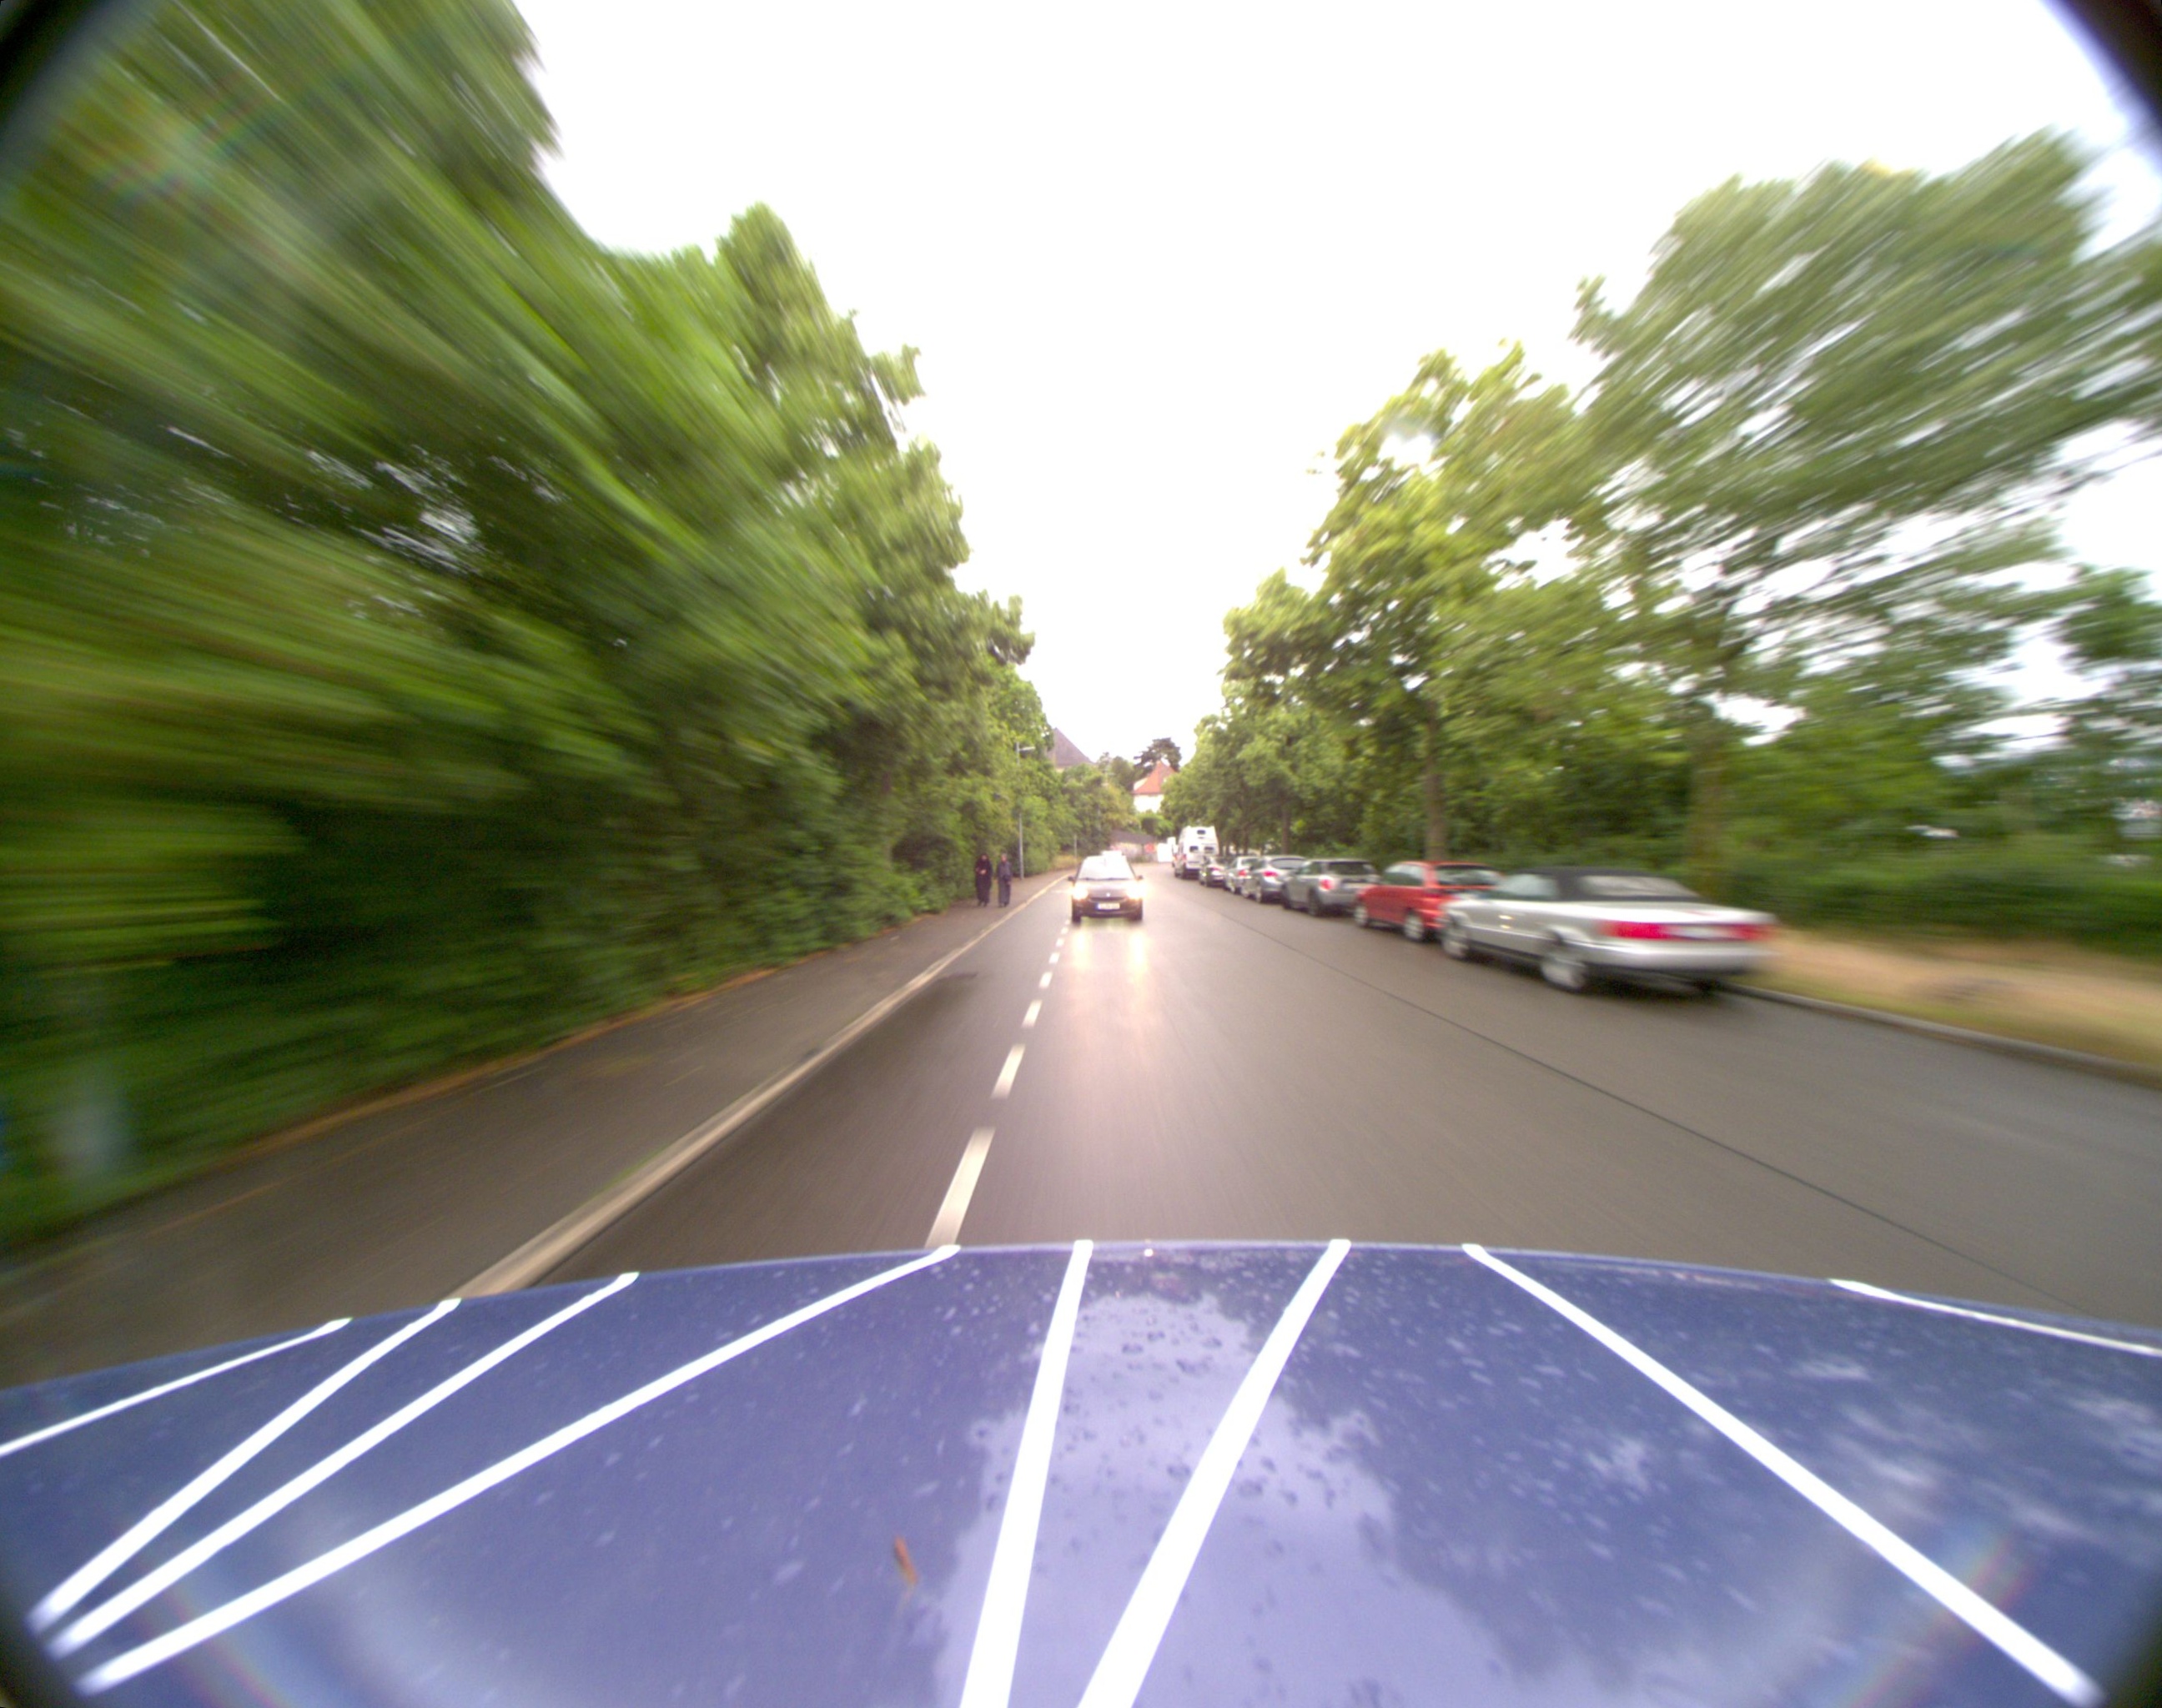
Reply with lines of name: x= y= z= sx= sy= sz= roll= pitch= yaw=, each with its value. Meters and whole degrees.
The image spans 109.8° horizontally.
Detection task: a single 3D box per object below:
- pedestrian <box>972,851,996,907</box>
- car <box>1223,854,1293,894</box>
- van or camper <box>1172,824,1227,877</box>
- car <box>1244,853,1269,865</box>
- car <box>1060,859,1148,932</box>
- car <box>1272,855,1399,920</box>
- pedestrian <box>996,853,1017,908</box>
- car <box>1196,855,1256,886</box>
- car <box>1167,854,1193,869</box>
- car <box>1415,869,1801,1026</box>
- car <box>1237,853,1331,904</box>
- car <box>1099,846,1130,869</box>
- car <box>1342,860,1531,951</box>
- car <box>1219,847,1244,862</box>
pedestrian: x=-2.803 y=0.708 z=21.999 sx=0.597 sy=1.558 sz=0.668 roll=2 pitch=3 yaw=-2
car: x=6.763 y=0.733 z=29.464 sx=1.998 sy=1.397 sz=4.716 roll=1 pitch=0 yaw=5
van or camper: x=7.110 y=-0.245 z=46.386 sx=2.511 sy=3.009 sz=6.561 roll=0 pitch=1 yaw=2
car: x=21.624 y=0.598 z=93.346 sx=1.655 sy=1.421 sz=4.384 roll=3 pitch=1 yaw=31
car: x=0.511 y=0.886 z=18.127 sx=1.804 sy=1.418 sz=4.382 roll=-1 pitch=1 yaw=1
car: x=6.476 y=0.778 z=19.940 sx=1.998 sy=1.397 sz=4.714 roll=1 pitch=1 yaw=3
pedestrian: x=-2.174 y=0.762 z=22.142 sx=0.554 sy=1.558 sz=0.486 roll=2 pitch=2 yaw=-6
car: x=6.665 y=0.727 z=35.470 sx=1.998 sy=1.301 sz=5.356 roll=1 pitch=0 yaw=3
car: x=10.142 y=0.750 z=77.623 sx=1.885 sy=1.394 sz=4.261 roll=0 pitch=1 yaw=19
car: x=6.006 y=0.935 z=9.476 sx=1.759 sy=1.394 sz=4.420 roll=2 pitch=-1 yaw=1
car: x=6.413 y=0.722 z=24.574 sx=1.998 sy=1.397 sz=4.714 roll=1 pitch=1 yaw=3
car: x=2.630 y=0.250 z=58.351 sx=2.029 sy=1.619 sz=4.230 roll=0 pitch=1 yaw=8
car: x=6.431 y=0.851 z=14.274 sx=1.599 sy=1.354 sz=4.000 roll=0 pitch=1 yaw=-1
car: x=16.766 y=-0.003 z=84.470 sx=1.684 sy=1.501 sz=4.212 roll=4 pitch=3 yaw=24
